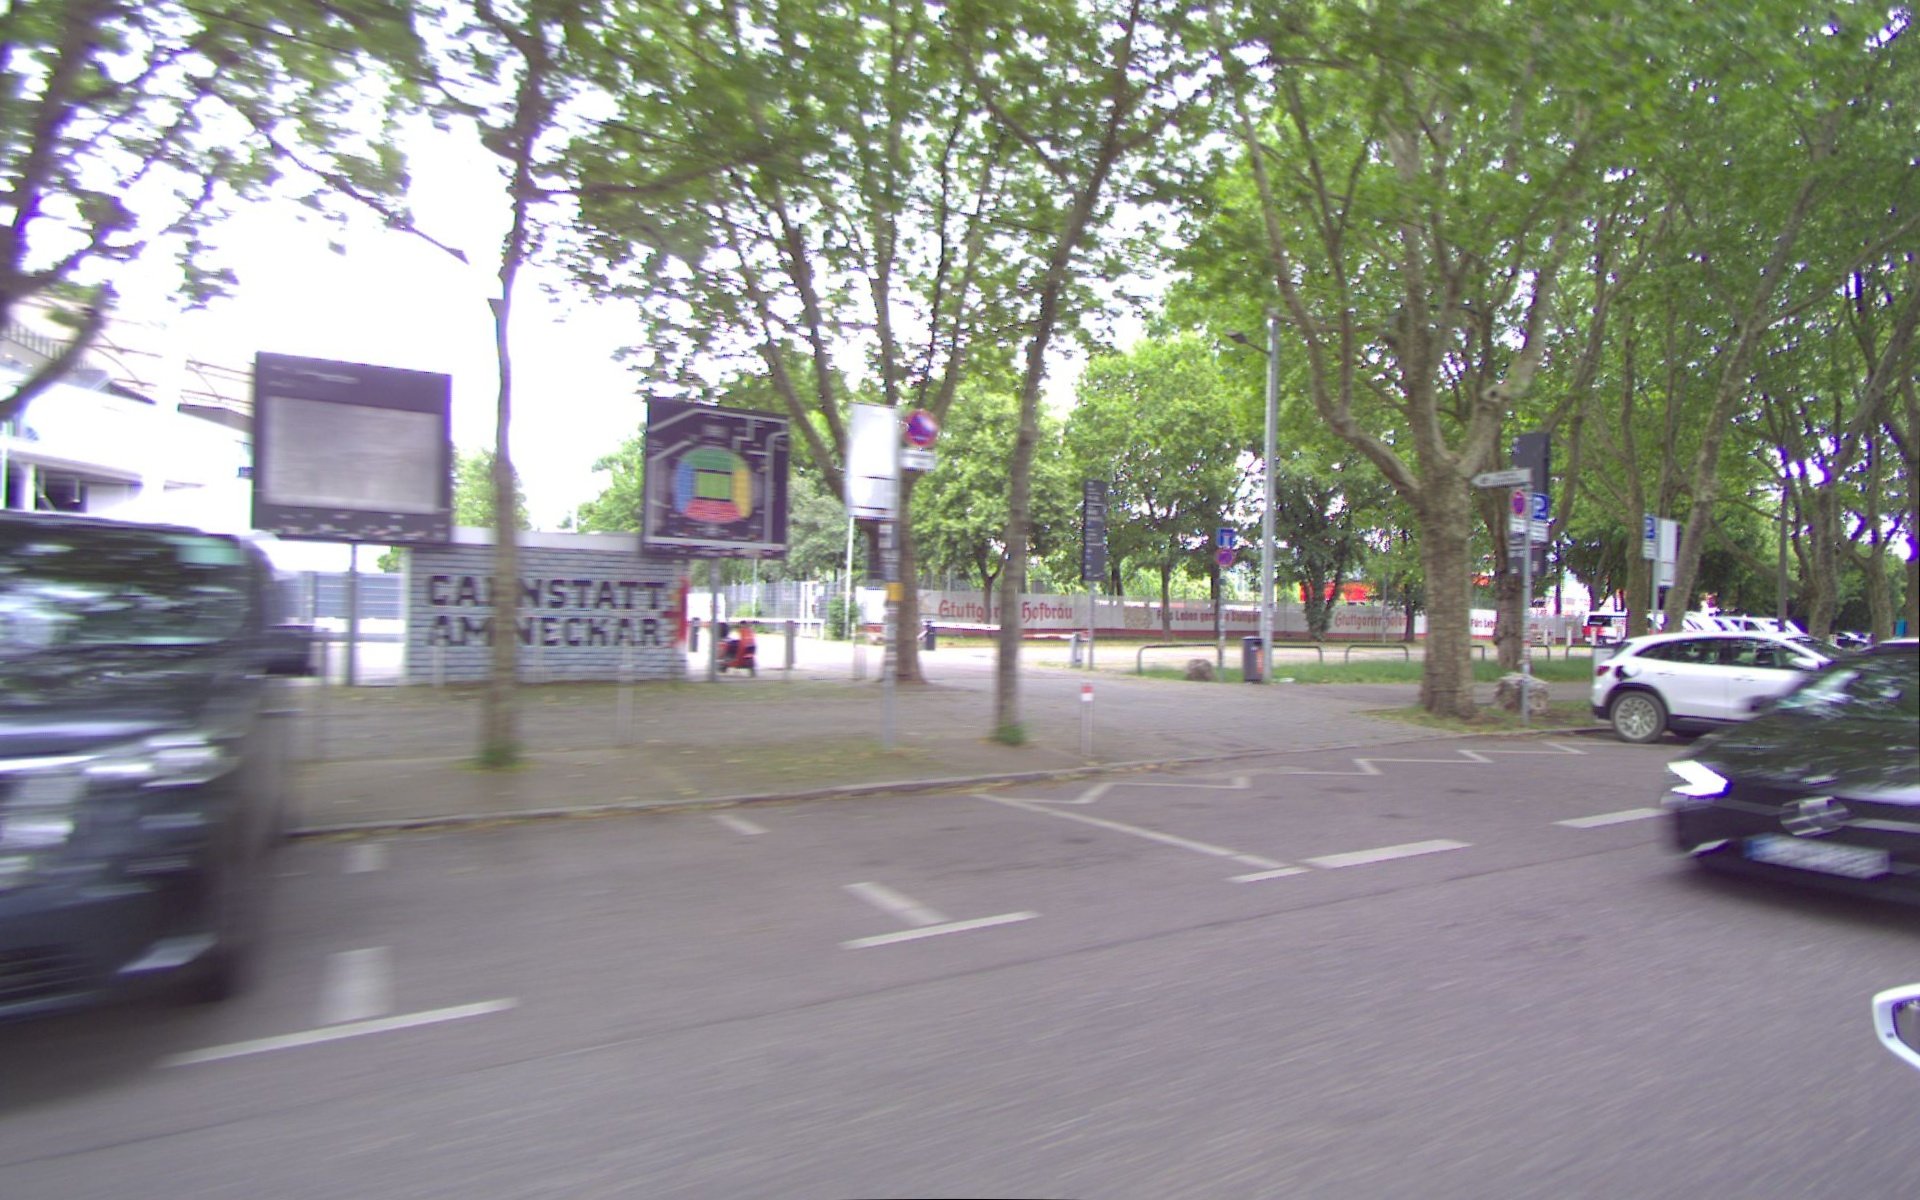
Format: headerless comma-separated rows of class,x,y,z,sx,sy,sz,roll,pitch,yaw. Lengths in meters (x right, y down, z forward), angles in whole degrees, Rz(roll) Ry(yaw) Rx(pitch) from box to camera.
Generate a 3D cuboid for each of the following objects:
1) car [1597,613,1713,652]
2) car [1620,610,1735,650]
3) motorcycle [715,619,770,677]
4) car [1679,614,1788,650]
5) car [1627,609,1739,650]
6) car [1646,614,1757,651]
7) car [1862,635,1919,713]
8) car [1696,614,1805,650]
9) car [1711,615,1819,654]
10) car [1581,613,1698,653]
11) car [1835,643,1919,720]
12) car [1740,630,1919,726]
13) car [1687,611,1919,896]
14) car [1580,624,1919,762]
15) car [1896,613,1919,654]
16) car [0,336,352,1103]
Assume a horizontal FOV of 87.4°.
car,45.673,2.075,66.173,1.977,2.282,5.973,2,0,-30
car,48.064,1.974,67.477,1.977,2.349,5.973,2,0,-30
motorcycle,-4.560,0.989,20.988,0.730,1.157,1.650,2,-2,-26
car,56.058,2.288,72.957,1.977,2.361,5.973,2,0,-30
car,49.904,2.006,69.481,1.977,2.560,5.973,2,0,-30
car,51.903,2.251,70.471,1.977,2.270,5.973,2,0,-30
car,22.137,1.572,21.131,1.978,1.689,4.318,2,-3,-31
car,58.169,2.328,74.072,1.977,2.336,5.973,2,0,-30
car,60.351,2.556,75.451,1.977,2.560,5.973,2,0,-30
car,43.686,2.071,64.732,1.977,2.282,5.973,2,0,-30
car,19.857,1.579,19.491,1.822,1.495,3.966,2,-3,-32
car,17.457,1.414,18.603,1.978,1.689,4.318,2,-3,-31
car,6.265,0.811,6.148,4.070,1.382,1.644,2,-3,-34
car,11.295,1.171,13.759,1.978,1.618,4.357,2,-3,-31
car,65.549,2.308,65.870,1.976,2.632,5.760,2,0,-29
car,-4.222,0.415,5.072,1.918,2.156,5.408,1,-2,-31
